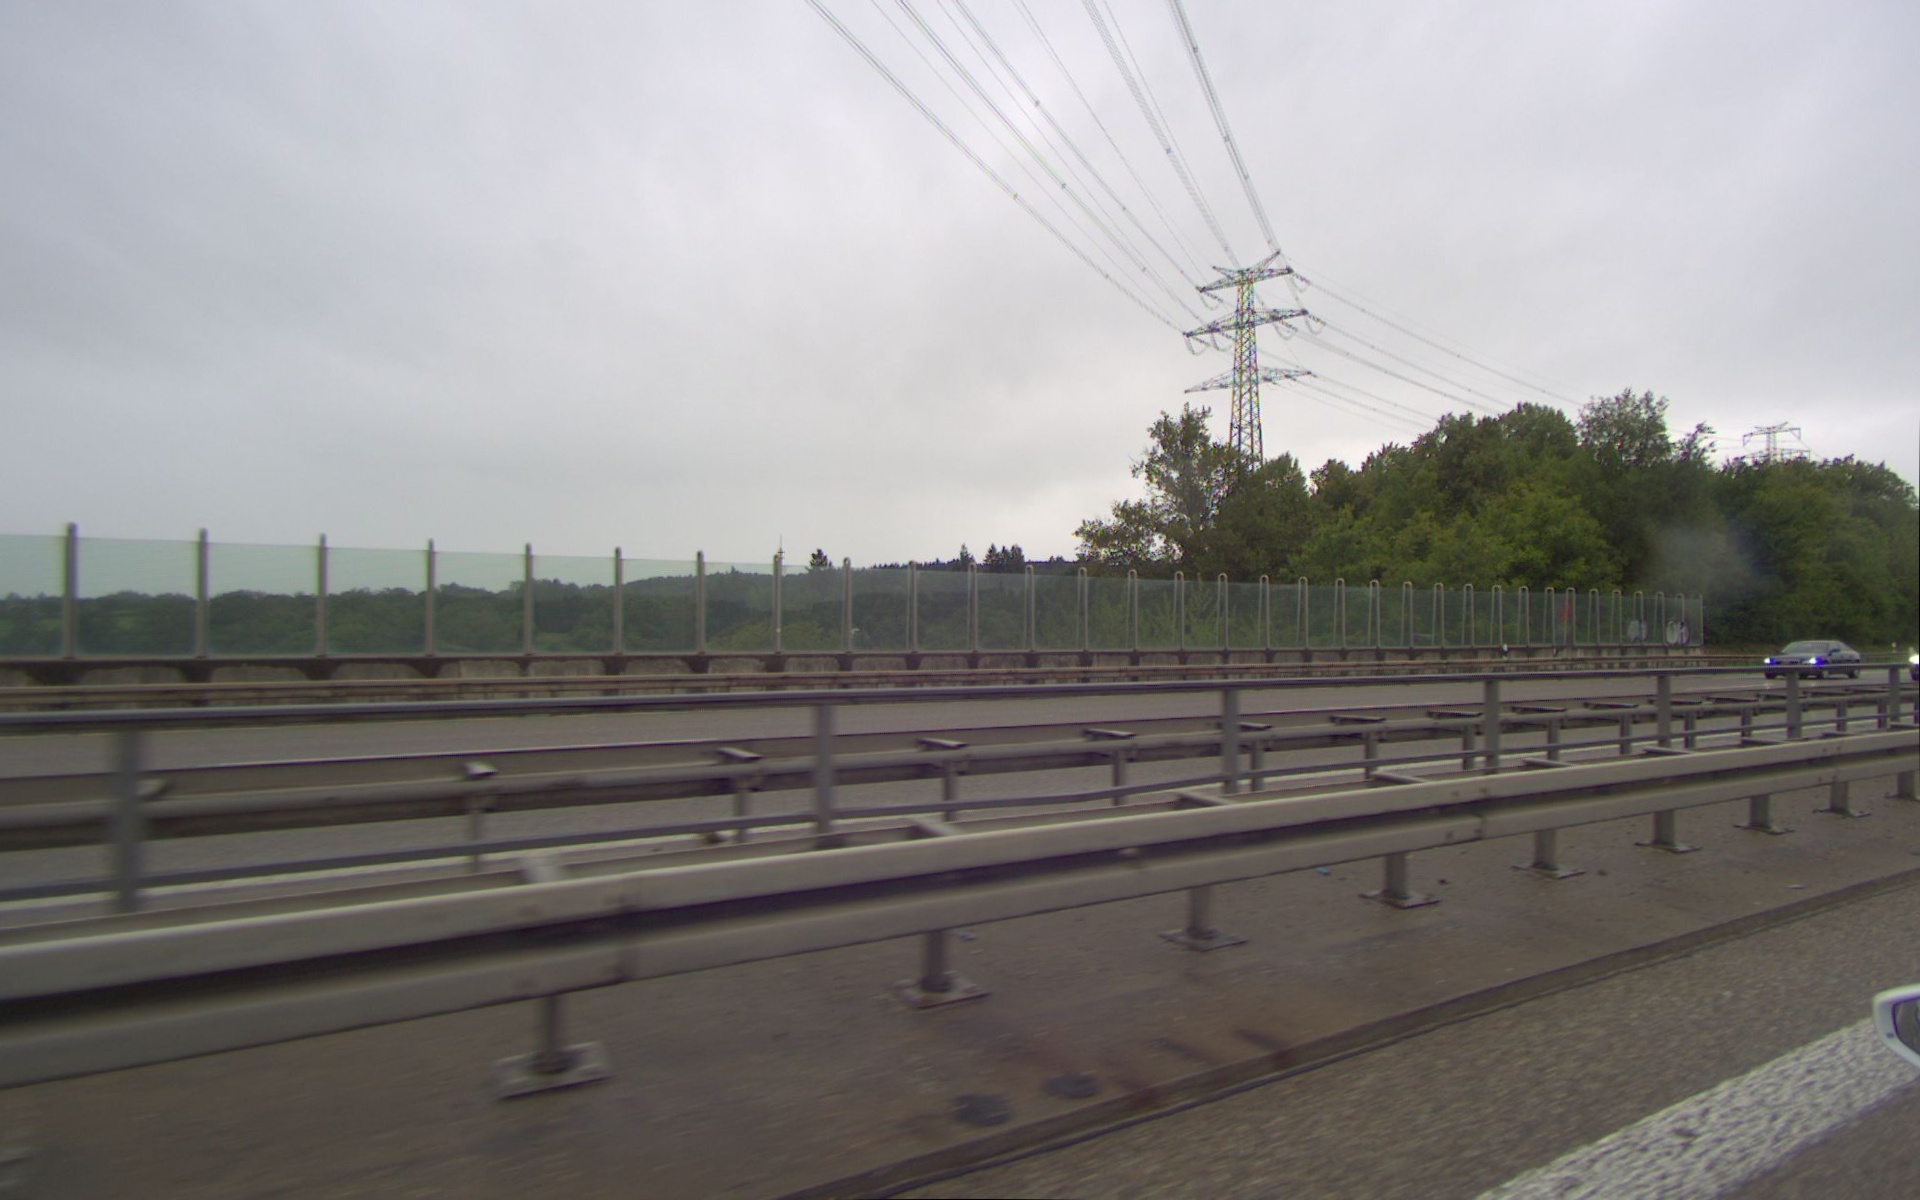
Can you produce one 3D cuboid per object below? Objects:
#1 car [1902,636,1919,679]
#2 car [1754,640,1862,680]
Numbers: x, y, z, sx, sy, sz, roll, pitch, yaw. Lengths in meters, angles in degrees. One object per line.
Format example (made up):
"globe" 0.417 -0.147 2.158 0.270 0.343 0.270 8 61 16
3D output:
"car" 34.982 1.998 35.198 4.041 1.455 1.807 1 -3 -30
"car" 31.474 2.192 37.259 4.041 1.407 1.807 1 -3 -30
